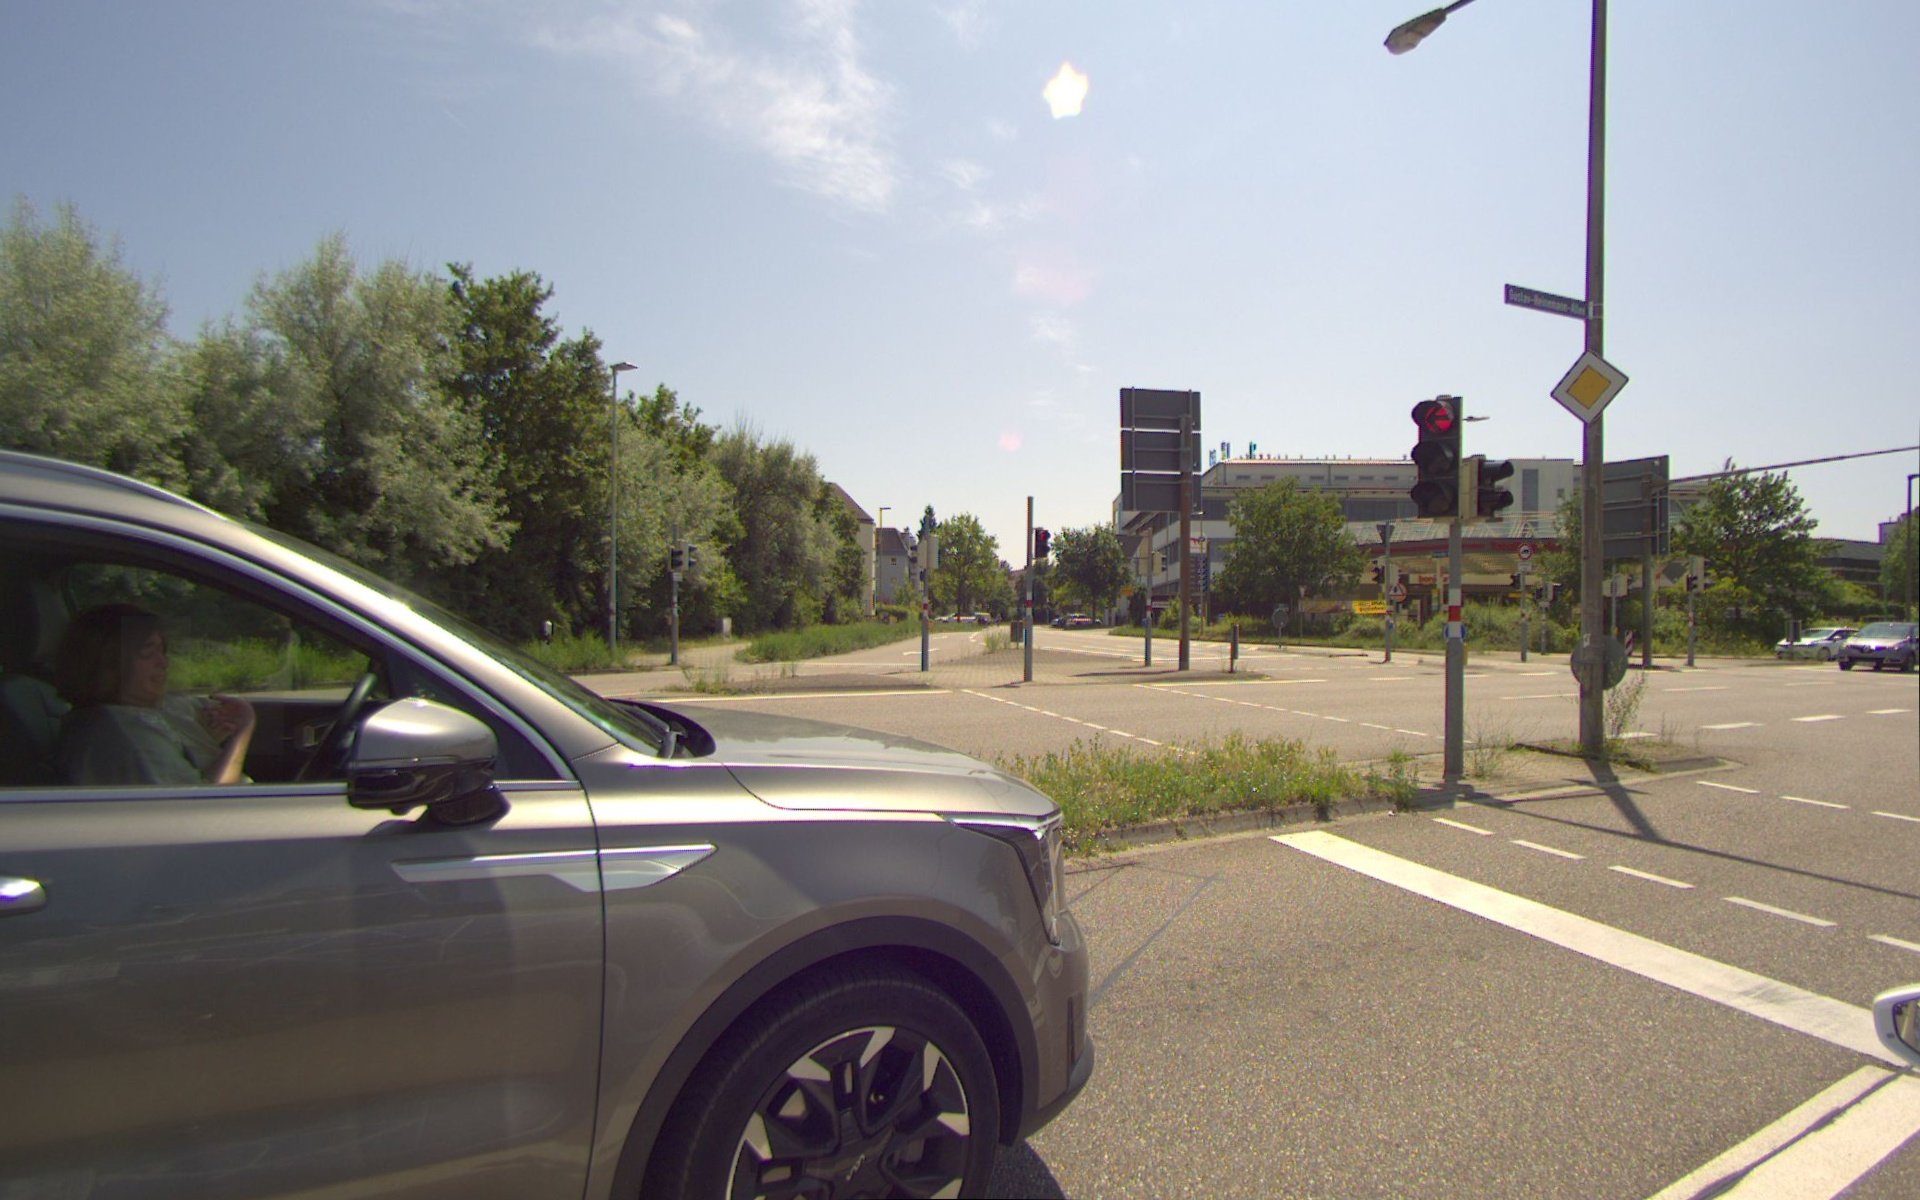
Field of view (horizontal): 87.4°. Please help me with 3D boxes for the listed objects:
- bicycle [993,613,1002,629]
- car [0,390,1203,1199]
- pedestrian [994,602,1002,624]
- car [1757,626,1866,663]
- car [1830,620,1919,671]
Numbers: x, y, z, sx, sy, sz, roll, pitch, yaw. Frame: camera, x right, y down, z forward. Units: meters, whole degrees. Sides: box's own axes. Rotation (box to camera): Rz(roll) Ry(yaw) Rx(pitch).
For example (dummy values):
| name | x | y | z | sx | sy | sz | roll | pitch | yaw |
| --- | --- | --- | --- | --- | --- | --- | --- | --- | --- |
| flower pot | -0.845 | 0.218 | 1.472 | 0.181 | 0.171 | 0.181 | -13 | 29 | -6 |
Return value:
| name | x | y | z | sx | sy | sz | roll | pitch | yaw |
| --- | --- | --- | --- | --- | --- | --- | --- | --- | --- |
| bicycle | 4.896 | 2.722 | 131.303 | 0.876 | 2.040 | 3.196 | 0 | -1 | 6 |
| car | -1.771 | 0.575 | 2.039 | 4.480 | 1.690 | 1.771 | 1 | -1 | -31 |
| pedestrian | 4.953 | 1.687 | 131.498 | 0.864 | 2.751 | 1.518 | 2 | 0 | 8 |
| car | 36.216 | 1.908 | 42.723 | 3.766 | 1.469 | 1.822 | 2 | -1 | -17 |
| car | 30.124 | 1.459 | 32.661 | 3.954 | 1.560 | 1.650 | 1 | -1 | -31 |
